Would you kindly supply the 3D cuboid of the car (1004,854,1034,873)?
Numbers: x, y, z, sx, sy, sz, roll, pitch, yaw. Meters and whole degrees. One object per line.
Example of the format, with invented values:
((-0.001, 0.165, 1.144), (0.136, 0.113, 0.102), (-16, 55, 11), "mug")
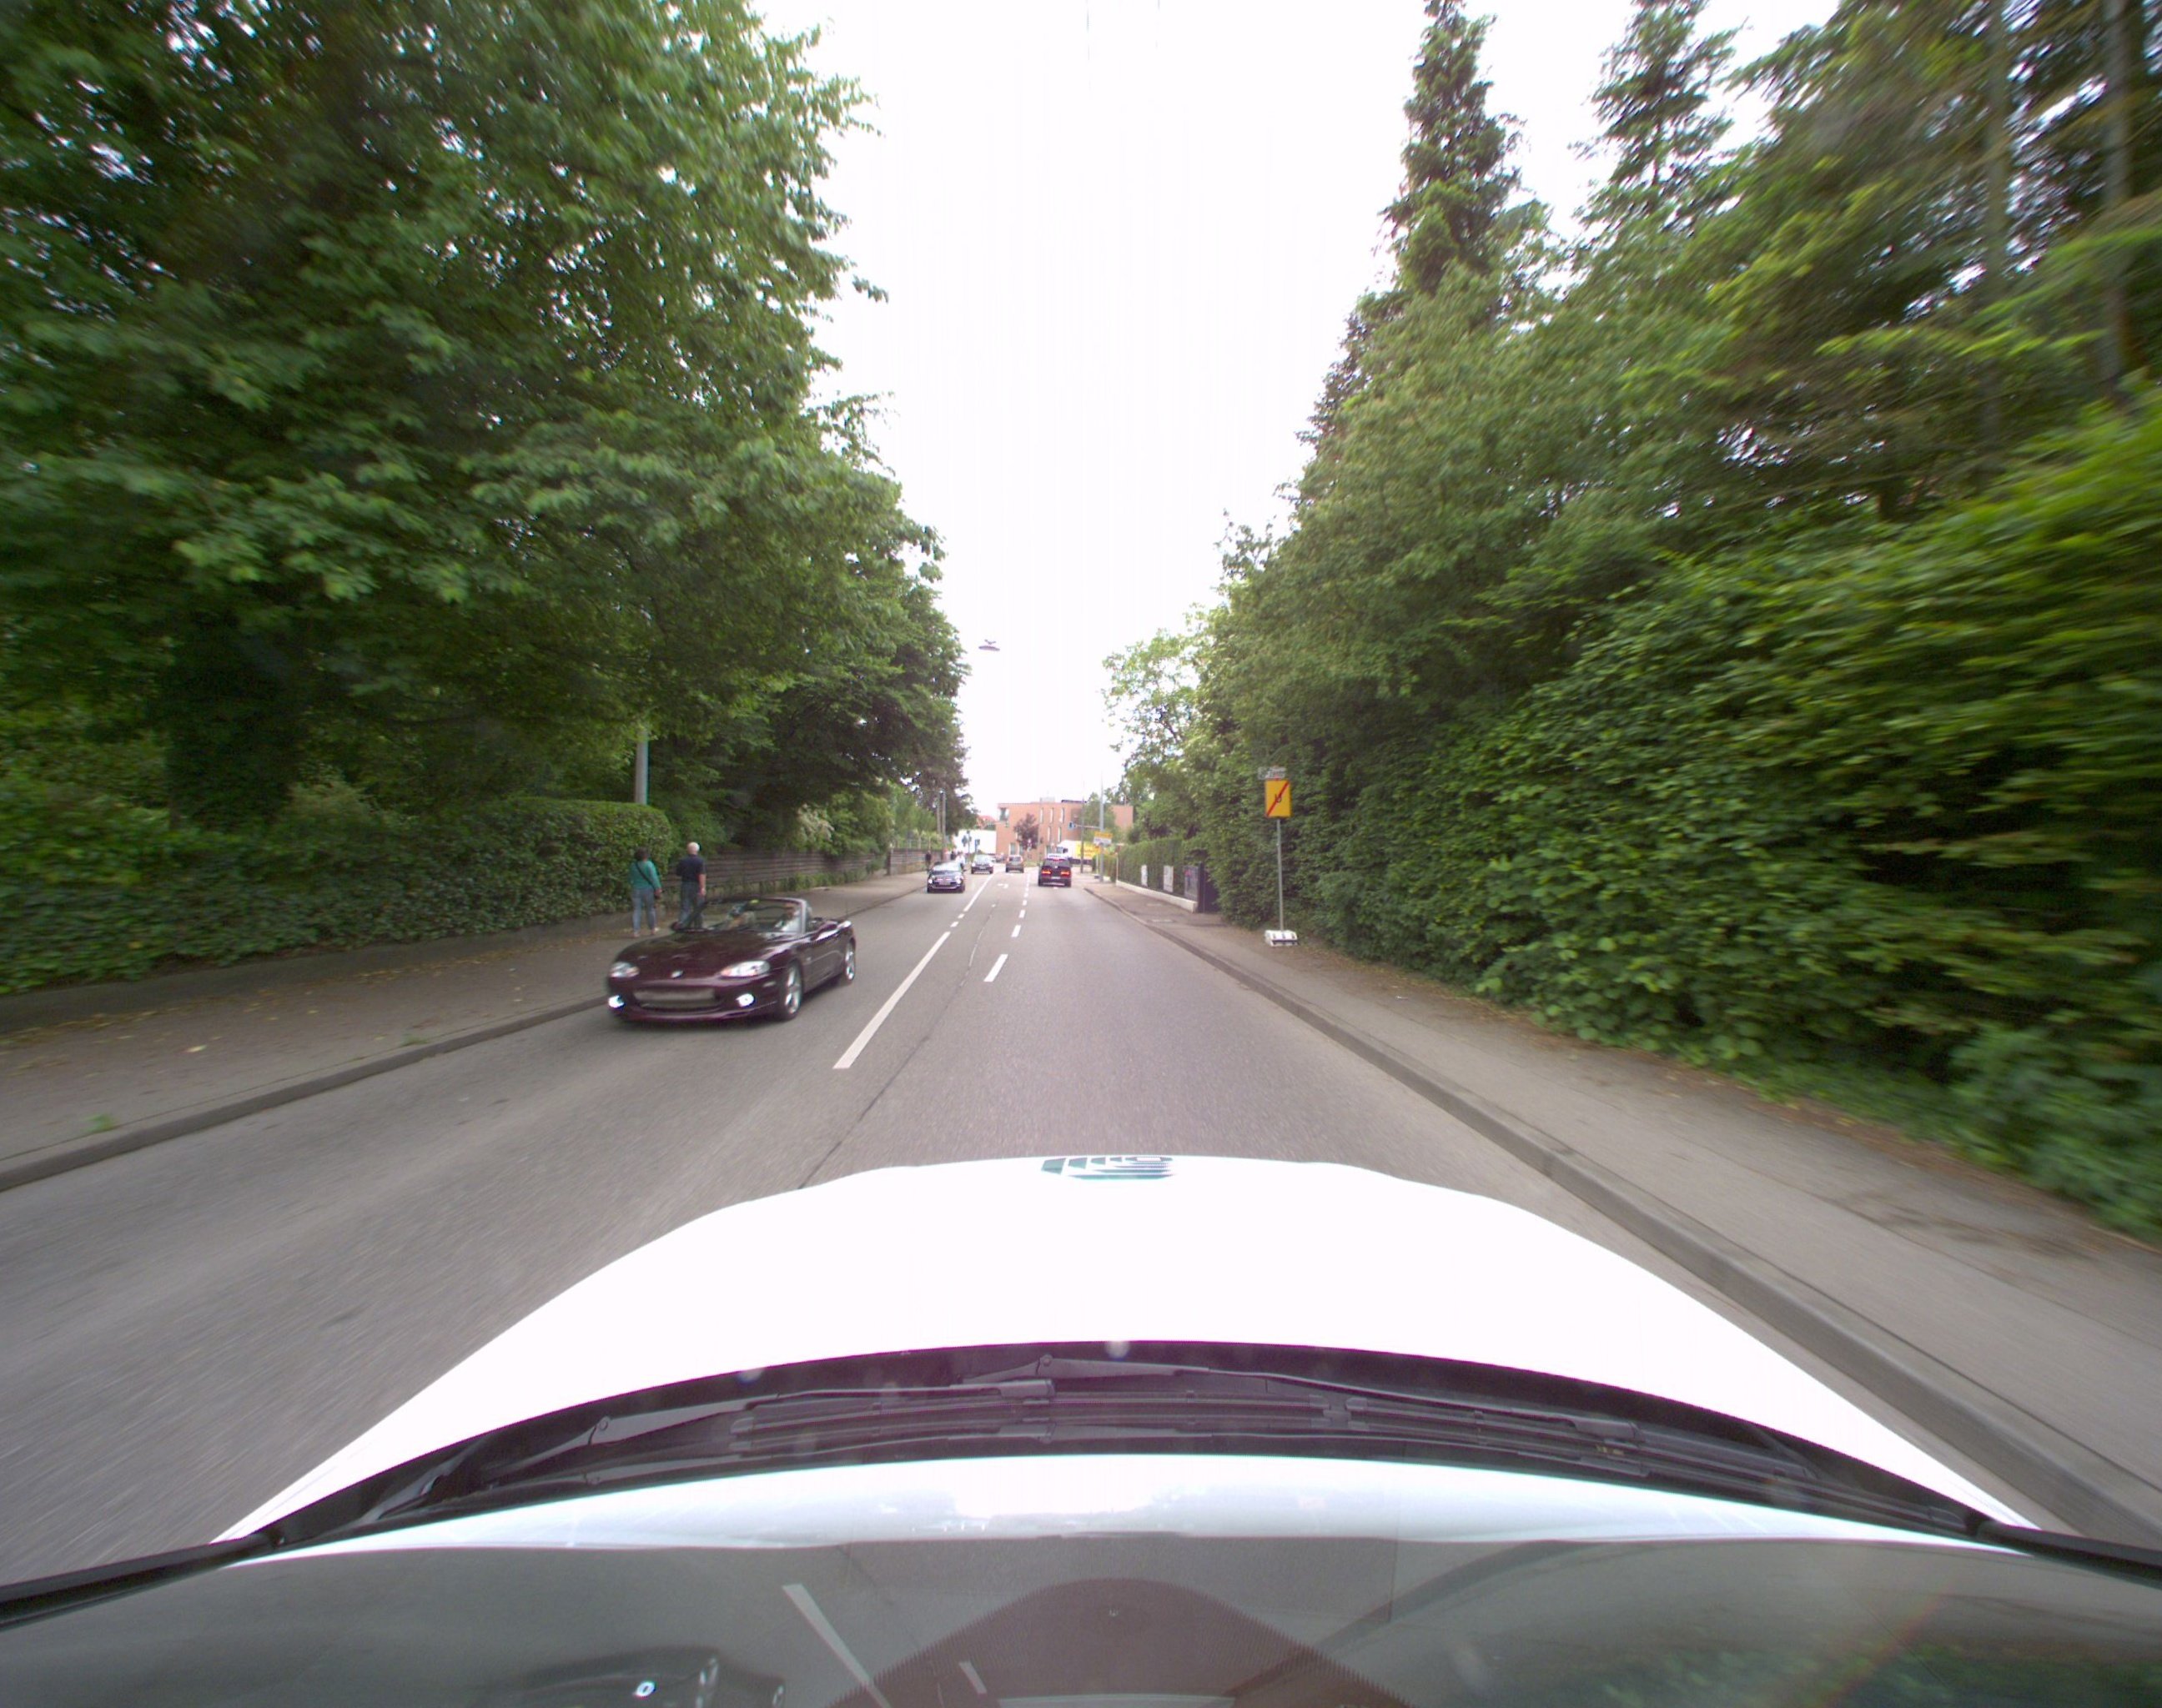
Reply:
((-5.736, 0.835, 75.571), (1.883, 1.706, 4.009), (1, 0, 8), "car")

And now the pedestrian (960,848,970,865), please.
((-12.468, 0.256, 87.815), (0.686, 1.734, 0.757), (1, 0, 41), "pedestrian")

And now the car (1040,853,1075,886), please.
((-1.405, 0.891, 47.999), (1.989, 1.882, 3.996), (1, -1, -3), "car")

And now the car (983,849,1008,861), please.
((-15.168, 0.220, 144.368), (4.013, 2.013, 1.980), (1, 0, -32), "car")

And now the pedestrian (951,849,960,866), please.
((-13.512, 0.400, 87.455), (0.755, 1.837, 0.608), (1, 0, -33), "pedestrian")

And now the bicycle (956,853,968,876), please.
((-9.069, 0.782, 62.077), (0.757, 1.744, 1.868), (-1, 0, -4), "bicycle")

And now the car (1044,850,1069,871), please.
((-2.647, 0.723, 88.582), (1.952, 2.013, 4.437), (4, 2, 7), "car")

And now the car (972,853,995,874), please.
((-8.418, 0.803, 69.923), (1.831, 1.630, 4.270), (-1, 1, -9), "car")

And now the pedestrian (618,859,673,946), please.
((-7.499, 0.809, 14.053), (0.671, 1.449, 0.753), (1, 0, -17), "pedestrian")

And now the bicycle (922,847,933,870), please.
((-11.582, 0.341, 61.430), (0.560, 1.676, 1.978), (1, 0, -4), "bicycle")

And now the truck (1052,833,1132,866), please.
((1.727, -0.665, 121.660), (11.822, 4.734, 3.107), (1, 1, -28), "truck")

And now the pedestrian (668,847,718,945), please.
((-6.817, 0.722, 14.332), (0.630, 1.662, 0.914), (1, -1, -17), "pedestrian")

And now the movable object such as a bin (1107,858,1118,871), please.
((2.758, 0.926, 71.250), (0.720, 1.073, 0.674), (3, -1, -41), "movable object such as a bin")

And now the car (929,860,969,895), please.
((-6.165, 1.074, 38.135), (1.719, 1.471, 3.520), (-1, 0, -9), "car")

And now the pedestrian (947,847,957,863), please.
((-13.870, 0.111, 87.426), (0.819, 1.763, 0.860), (1, 0, -26), "pedestrian")

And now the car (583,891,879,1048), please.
((-3.560, 1.103, 9.092), (1.686, 1.177, 3.785), (-1, 0, -1), "car")

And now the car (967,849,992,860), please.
((-18.886, 0.140, 151.494), (4.013, 2.013, 1.980), (0, 1, -31), "car")
